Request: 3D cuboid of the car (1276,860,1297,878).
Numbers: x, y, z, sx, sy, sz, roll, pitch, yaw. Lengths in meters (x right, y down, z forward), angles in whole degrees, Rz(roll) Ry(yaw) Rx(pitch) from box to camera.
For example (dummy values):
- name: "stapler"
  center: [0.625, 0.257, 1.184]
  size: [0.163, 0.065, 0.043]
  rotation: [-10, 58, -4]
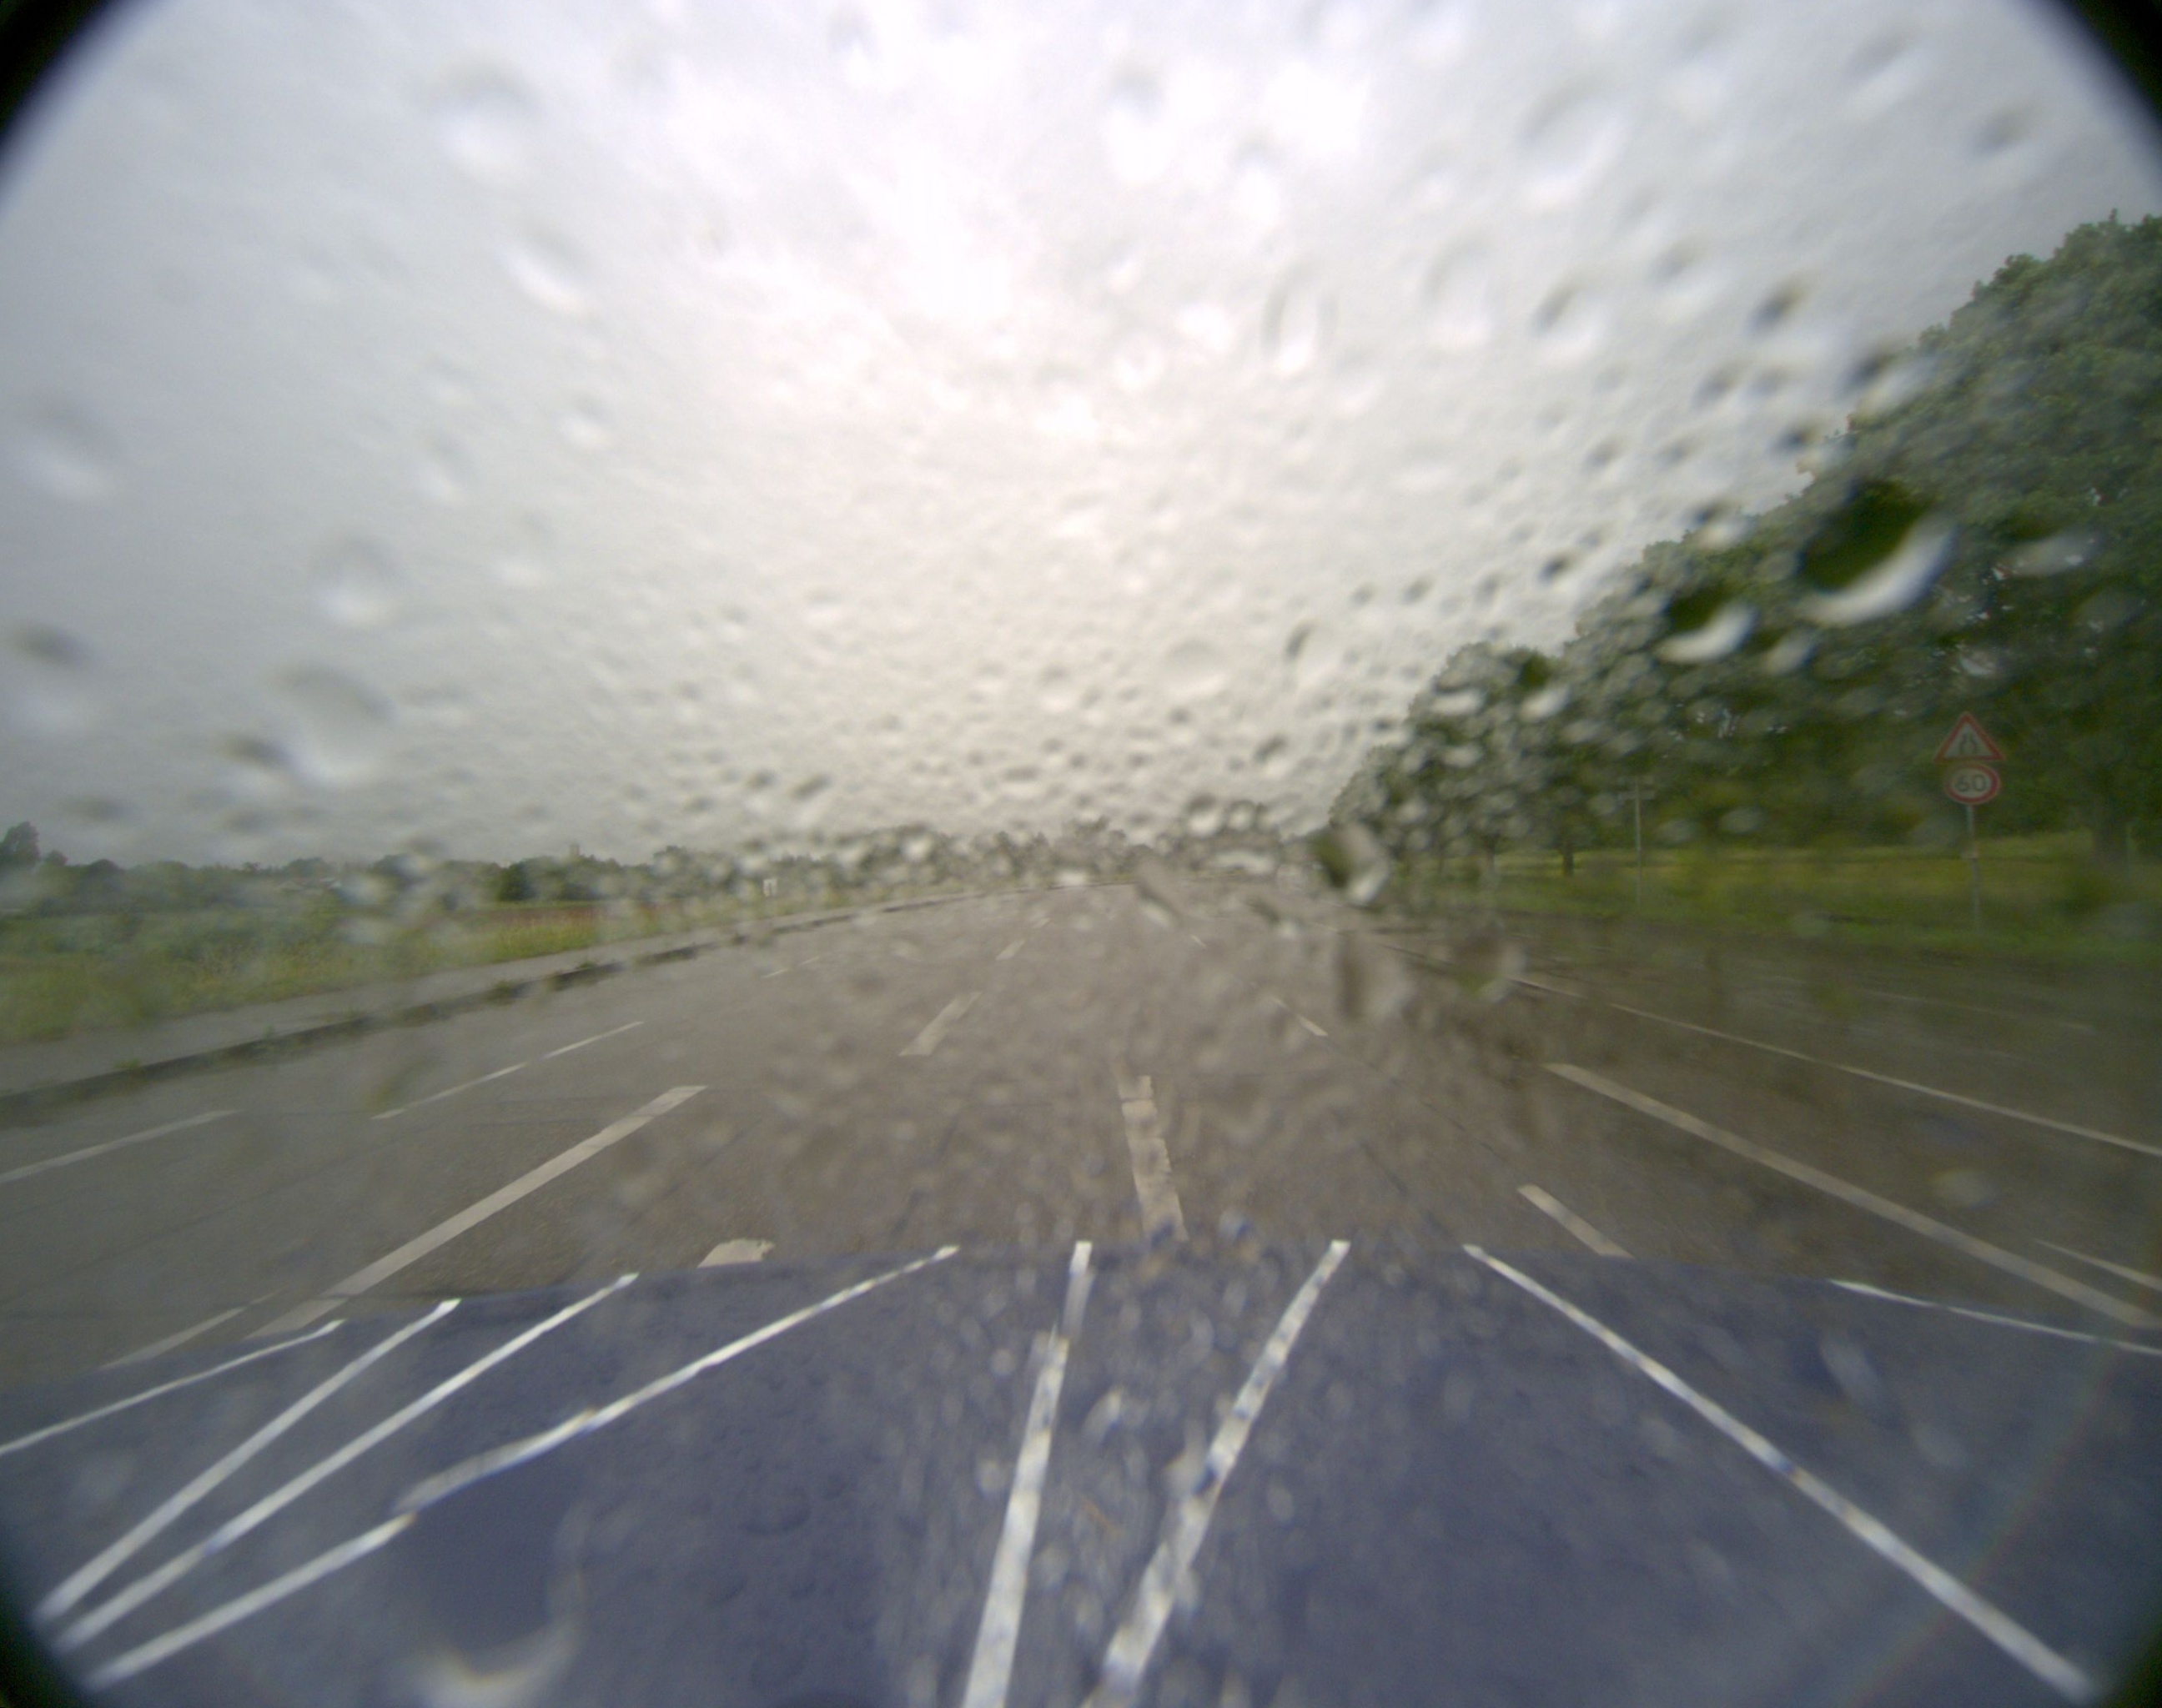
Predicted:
- name: "car"
  center: [19.586, 1.406, 72.574]
  size: [1.881, 1.564, 4.650]
  rotation: [0, 0, 14]

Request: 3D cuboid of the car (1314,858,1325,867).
- name: "car"
  center: [40.244, 1.426, 128.504]
  size: [1.741, 1.478, 4.016]
  rotation: [0, 0, 17]

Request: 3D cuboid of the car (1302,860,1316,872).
- name: "car"
  center: [34.298, 1.812, 114.423]
  size: [1.887, 1.578, 4.124]
  rotation: [-3, 0, 18]

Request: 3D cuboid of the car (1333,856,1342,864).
- name: "car"
  center: [59.622, 1.408, 176.499]
  size: [1.926, 1.733, 4.294]
  rotation: [0, 0, 18]
